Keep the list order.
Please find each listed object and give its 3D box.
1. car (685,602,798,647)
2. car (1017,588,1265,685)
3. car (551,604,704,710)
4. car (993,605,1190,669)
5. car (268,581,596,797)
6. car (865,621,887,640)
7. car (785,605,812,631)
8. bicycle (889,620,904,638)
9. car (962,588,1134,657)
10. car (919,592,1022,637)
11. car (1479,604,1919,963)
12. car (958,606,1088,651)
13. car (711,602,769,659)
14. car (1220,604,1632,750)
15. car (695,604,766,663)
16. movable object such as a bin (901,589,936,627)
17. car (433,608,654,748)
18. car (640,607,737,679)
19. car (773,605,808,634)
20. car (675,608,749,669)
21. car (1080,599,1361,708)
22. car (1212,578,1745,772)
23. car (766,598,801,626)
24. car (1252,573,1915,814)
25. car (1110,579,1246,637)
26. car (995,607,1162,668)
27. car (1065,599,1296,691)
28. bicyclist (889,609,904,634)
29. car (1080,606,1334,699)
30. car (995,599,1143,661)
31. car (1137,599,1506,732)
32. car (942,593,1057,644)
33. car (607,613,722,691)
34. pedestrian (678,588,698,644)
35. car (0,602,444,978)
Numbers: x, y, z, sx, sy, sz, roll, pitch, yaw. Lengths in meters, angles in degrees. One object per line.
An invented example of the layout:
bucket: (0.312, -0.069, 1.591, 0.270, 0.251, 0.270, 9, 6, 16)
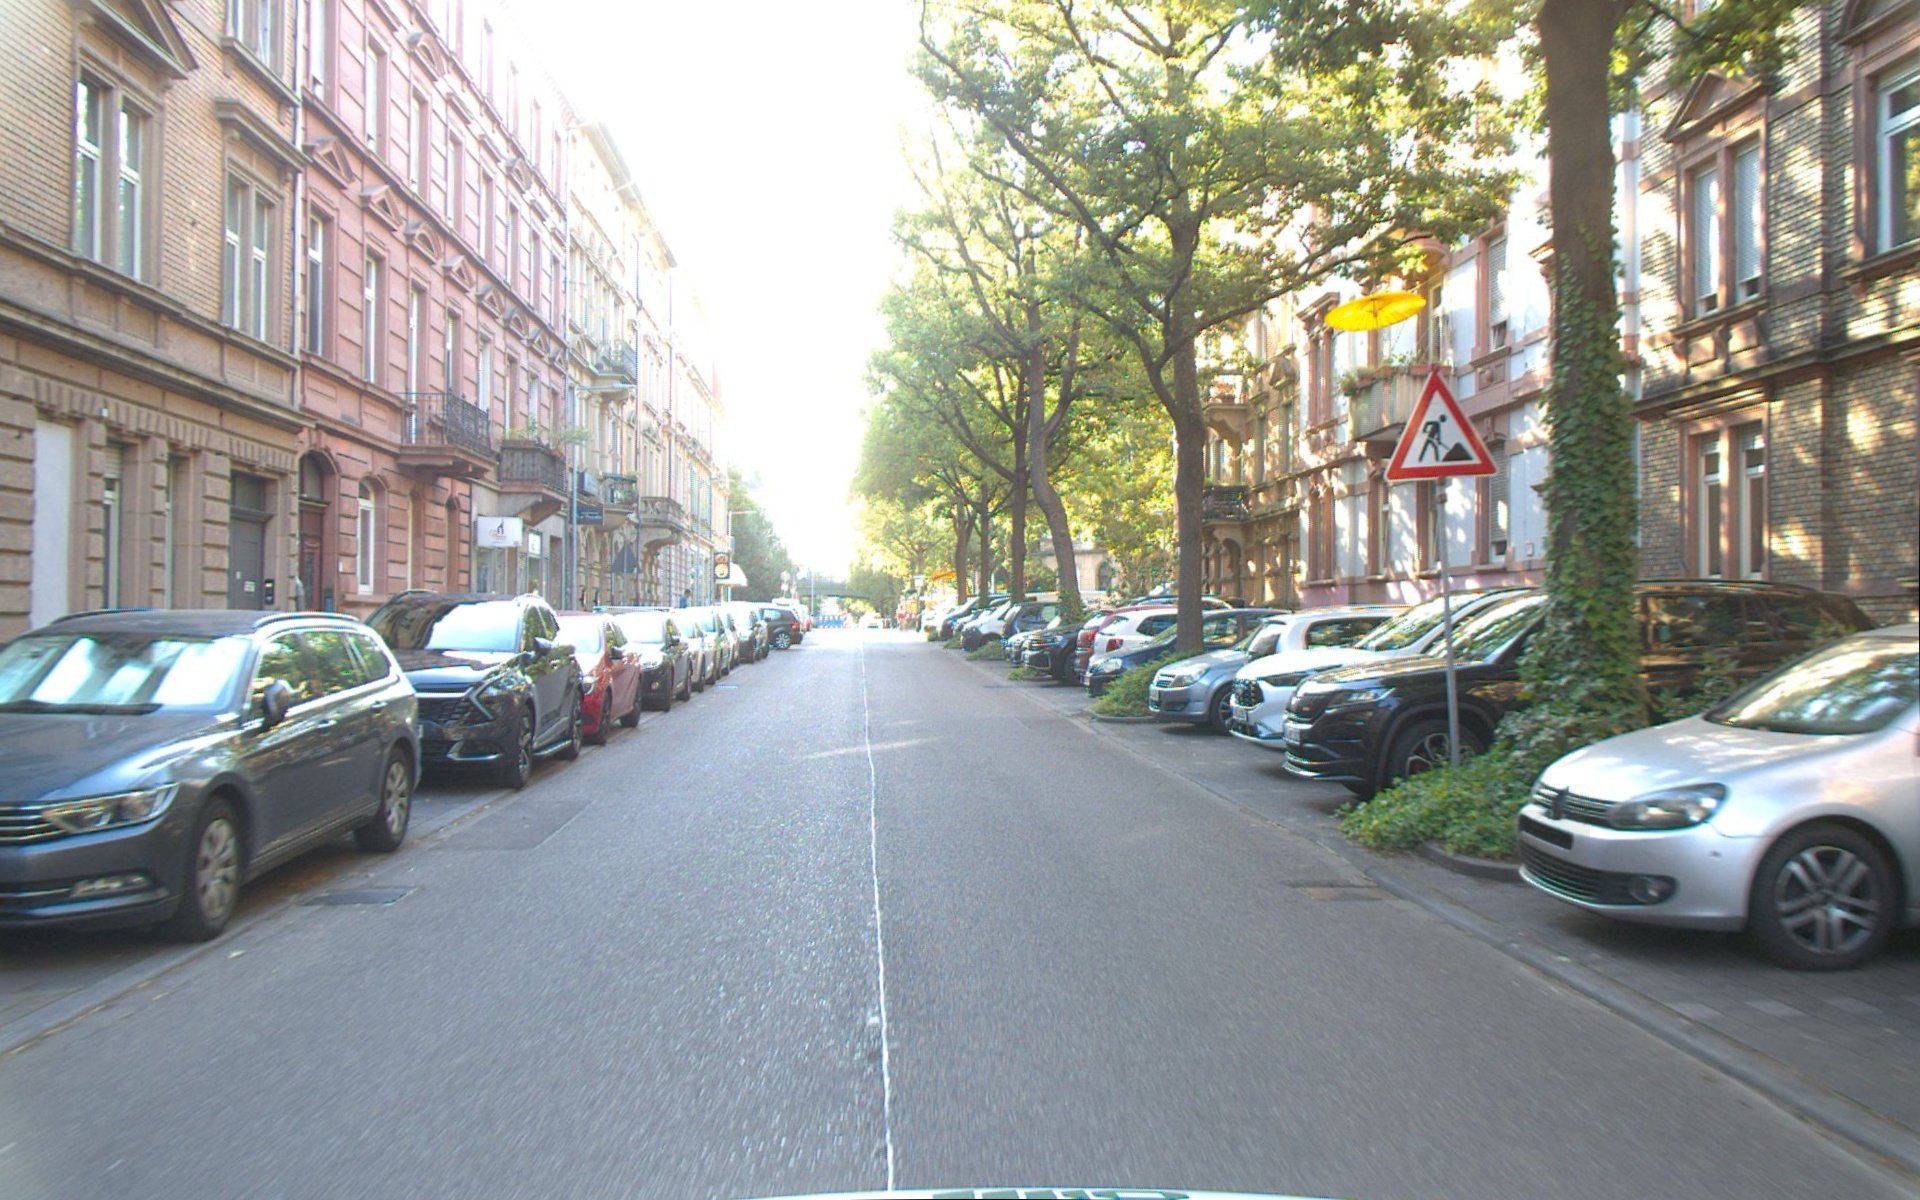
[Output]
car: (-7.742, 0.844, 58.547, 3.914, 1.556, 1.822, 0, 0, -10)
car: (3.536, 0.691, 32.782, 4.557, 1.732, 1.879, -2, 0, -7)
car: (-5.219, 0.840, 26.505, 1.785, 1.503, 4.420, 2, 0, -4)
car: (3.188, 0.890, 40.602, 4.570, 1.529, 1.929, 0, 0, -7)
car: (-4.567, 0.697, 14.997, 1.785, 1.628, 4.310, 2, 0, -4)
car: (-6.912, 2.480, 136.024, 1.714, 1.536, 3.997, 0, 0, -4)
car: (-9.974, 1.087, 102.192, 1.637, 1.557, 3.995, 1, -1, -6)
bicycle: (-3.596, 1.638, 93.695, 0.787, 0.985, 2.106, 1, -1, -4)
car: (2.619, 0.717, 50.196, 4.991, 1.974, 2.156, 0, -4, -4)
car: (0.484, 0.723, 80.318, 4.875, 2.133, 2.104, 0, 0, -4)
car: (4.662, 0.773, 7.790, 3.907, 1.482, 1.686, 0, 0, -3)
car: (2.114, 0.949, 56.344, 4.282, 1.481, 1.932, 0, 0, -3)
car: (-6.811, 0.921, 51.237, 1.617, 1.601, 4.042, 3, 0, -8)
car: (5.027, 0.813, 18.200, 4.018, 1.495, 1.800, 0, 0, -3)
car: (-6.406, 0.911, 46.482, 1.615, 1.498, 3.997, 3, 0, -4)
movable object such as a bin: (-3.023, 0.595, 120.332, 1.951, 2.747, 3.113, 0, -1, 9)
car: (-4.876, 0.855, 19.971, 1.785, 1.450, 4.310, 2, 0, -4)
car: (-5.854, 0.888, 36.031, 1.671, 1.464, 3.956, 0, 0, -3)
car: (-9.405, 1.074, 91.882, 1.691, 1.462, 3.993, 2, 0, -3)
car: (-6.292, 0.945, 42.232, 1.550, 1.499, 3.997, 0, 0, -4)
car: (3.914, 0.778, 25.184, 3.909, 1.412, 1.676, -3, 0, -5)
car: (4.734, 0.693, 15.493, 4.388, 1.685, 1.889, 1, -2, -5)
car: (-9.234, 0.626, 86.670, 1.730, 1.462, 4.296, 0, 0, -5)
car: (4.615, 0.698, 12.706, 4.385, 1.685, 1.890, 0, -2, -2)
car: (10.029, 0.363, 76.209, 5.786, 2.582, 2.374, 1, -1, -10)
car: (3.040, 0.952, 42.814, 4.028, 1.529, 1.808, 0, 0, -8)
car: (4.024, 0.798, 30.507, 3.911, 1.618, 1.780, 0, 0, -7)
bicyclist: (-3.594, 1.217, 93.651, 0.787, 1.407, 0.984, 1, -1, -5)
car: (4.095, 0.855, 27.769, 3.911, 1.488, 1.780, 0, 0, -7)
car: (2.967, 0.815, 45.510, 3.812, 1.678, 1.721, 0, 0, -9)
car: (4.435, 0.785, 20.601, 4.141, 1.563, 1.798, 0, 0, -7)
car: (1.589, 0.739, 67.572, 4.526, 2.049, 1.997, 0, 0, -6)
car: (-5.528, 0.939, 31.367, 1.671, 1.346, 4.098, 0, 0, -3)
pedestrian: (-9.371, 0.566, 57.060, 0.627, 1.921, 0.589, 0, 0, -15)
car: (-4.293, 0.766, 8.848, 1.825, 1.498, 4.486, 0, 0, -3)
